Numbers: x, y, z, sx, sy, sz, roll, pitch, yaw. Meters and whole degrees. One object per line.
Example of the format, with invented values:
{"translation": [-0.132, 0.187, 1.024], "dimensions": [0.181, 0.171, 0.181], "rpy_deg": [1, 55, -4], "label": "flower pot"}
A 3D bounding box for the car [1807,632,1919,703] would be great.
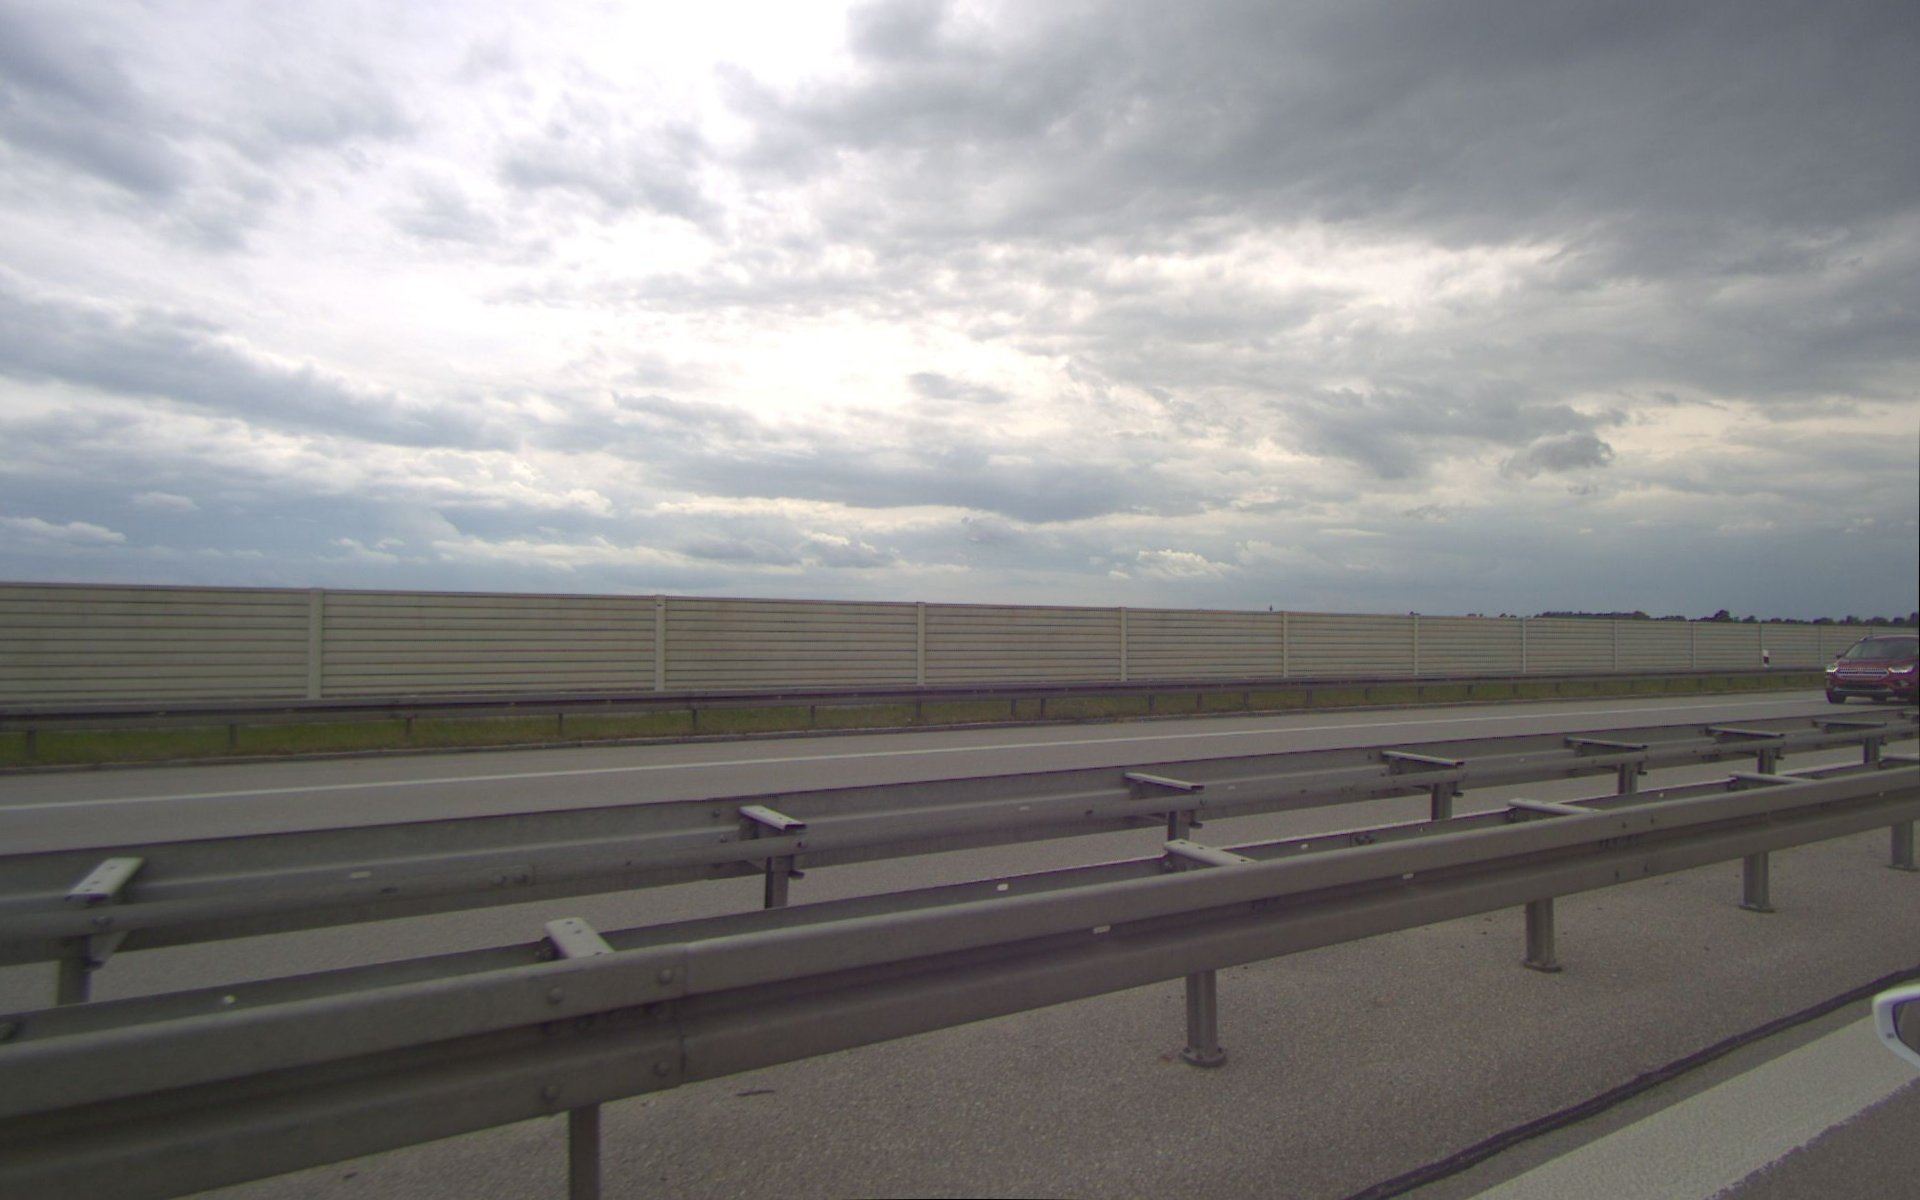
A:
{"translation": [23.385, 1.666, 25.237], "dimensions": [4.125, 1.652, 1.887], "rpy_deg": [1, -4, -30], "label": "car"}
